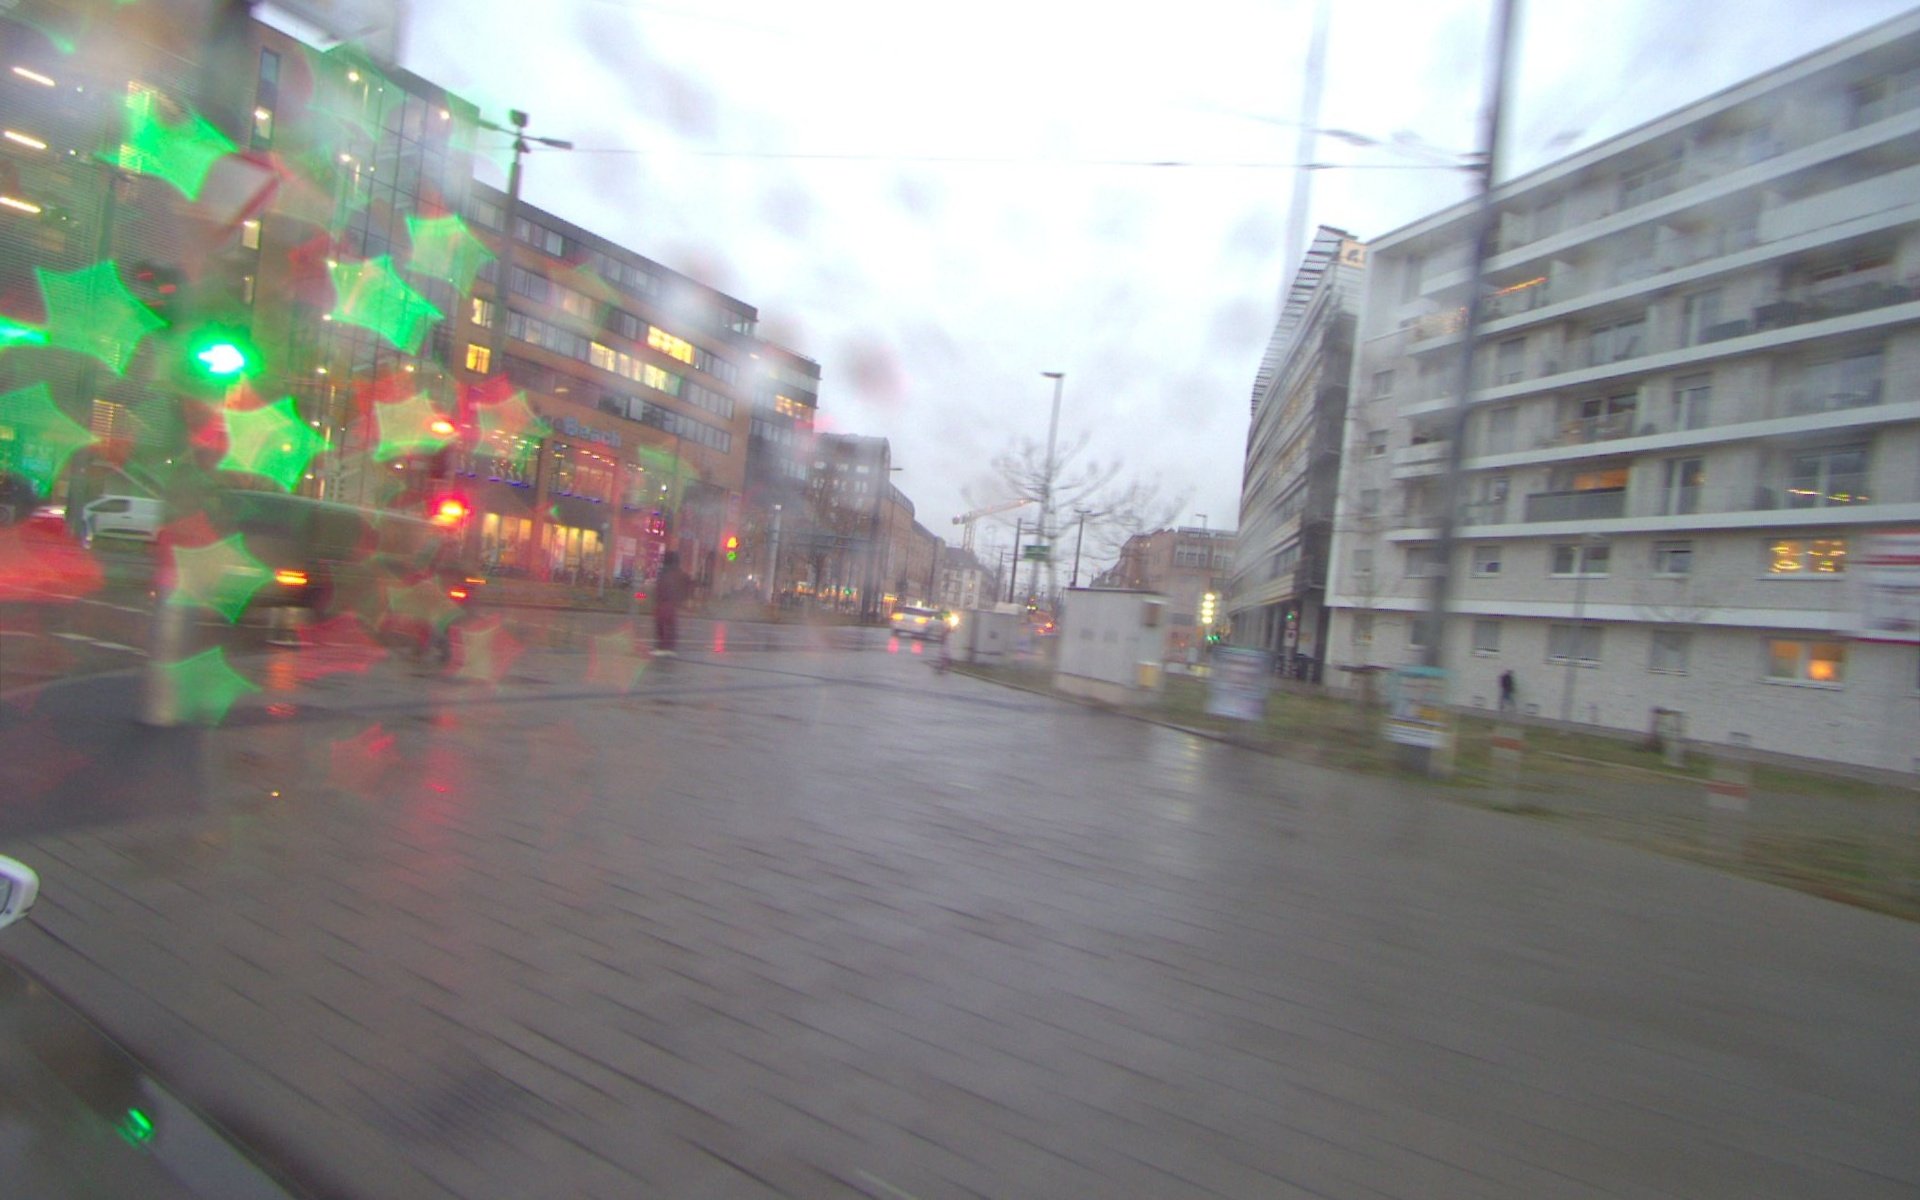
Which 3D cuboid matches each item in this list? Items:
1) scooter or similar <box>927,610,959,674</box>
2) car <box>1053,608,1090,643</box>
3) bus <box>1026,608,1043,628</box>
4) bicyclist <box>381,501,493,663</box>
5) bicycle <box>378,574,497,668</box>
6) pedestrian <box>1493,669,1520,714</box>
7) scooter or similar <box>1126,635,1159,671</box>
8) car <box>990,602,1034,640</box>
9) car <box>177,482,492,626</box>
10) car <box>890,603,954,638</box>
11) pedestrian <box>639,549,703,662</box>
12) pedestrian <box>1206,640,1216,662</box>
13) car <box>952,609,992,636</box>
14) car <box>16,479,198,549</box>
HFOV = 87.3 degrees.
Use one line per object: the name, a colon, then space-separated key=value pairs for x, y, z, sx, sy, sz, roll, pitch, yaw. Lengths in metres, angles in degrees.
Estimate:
scooter or similar: x=-0.334 y=0.835 z=20.126 sx=0.327 sy=1.221 sz=1.310 roll=7 pitch=0 yaw=7
car: x=10.840 y=2.517 z=97.578 sx=2.318 sy=2.860 sz=6.363 roll=7 pitch=-1 yaw=15
bus: x=14.244 y=3.482 z=191.763 sx=2.779 sy=3.413 sz=8.005 roll=7 pitch=-1 yaw=5
bicyclist: x=-6.646 y=-0.230 z=12.778 sx=0.975 sy=1.914 sz=0.789 roll=7 pitch=0 yaw=41
bicycle: x=-6.707 y=0.255 z=12.877 sx=1.840 sy=0.985 sz=0.654 roll=6 pitch=0 yaw=41
pedestrian: x=21.261 y=3.542 z=39.106 sx=0.624 sy=1.652 sz=0.718 roll=7 pitch=1 yaw=41
scooter or similar: x=7.045 y=2.042 z=38.715 sx=0.658 sy=1.241 sz=1.555 roll=6 pitch=-2 yaw=30
car: x=3.928 y=1.637 z=75.169 sx=1.962 sy=2.456 sz=5.978 roll=7 pitch=-1 yaw=14
car: x=-9.936 y=-0.601 z=16.501 sx=1.814 sy=1.828 sz=4.489 roll=7 pitch=-1 yaw=7
car: x=-1.787 y=1.026 z=48.401 sx=1.614 sy=1.377 sz=3.733 roll=7 pitch=-1 yaw=20
pedestrian: x=-5.132 y=0.101 z=17.860 sx=0.768 sy=1.901 sz=0.630 roll=6 pitch=1 yaw=-32
pedestrian: x=20.666 y=4.218 z=82.844 sx=0.522 sy=1.703 sz=0.745 roll=7 pitch=0 yaw=18
car: x=0.834 y=1.521 z=66.864 sx=1.613 sy=1.514 sz=3.686 roll=7 pitch=0 yaw=17
car: x=-30.942 y=-3.080 z=36.629 sx=1.898 sy=1.740 sz=4.601 roll=7 pitch=-1 yaw=32
